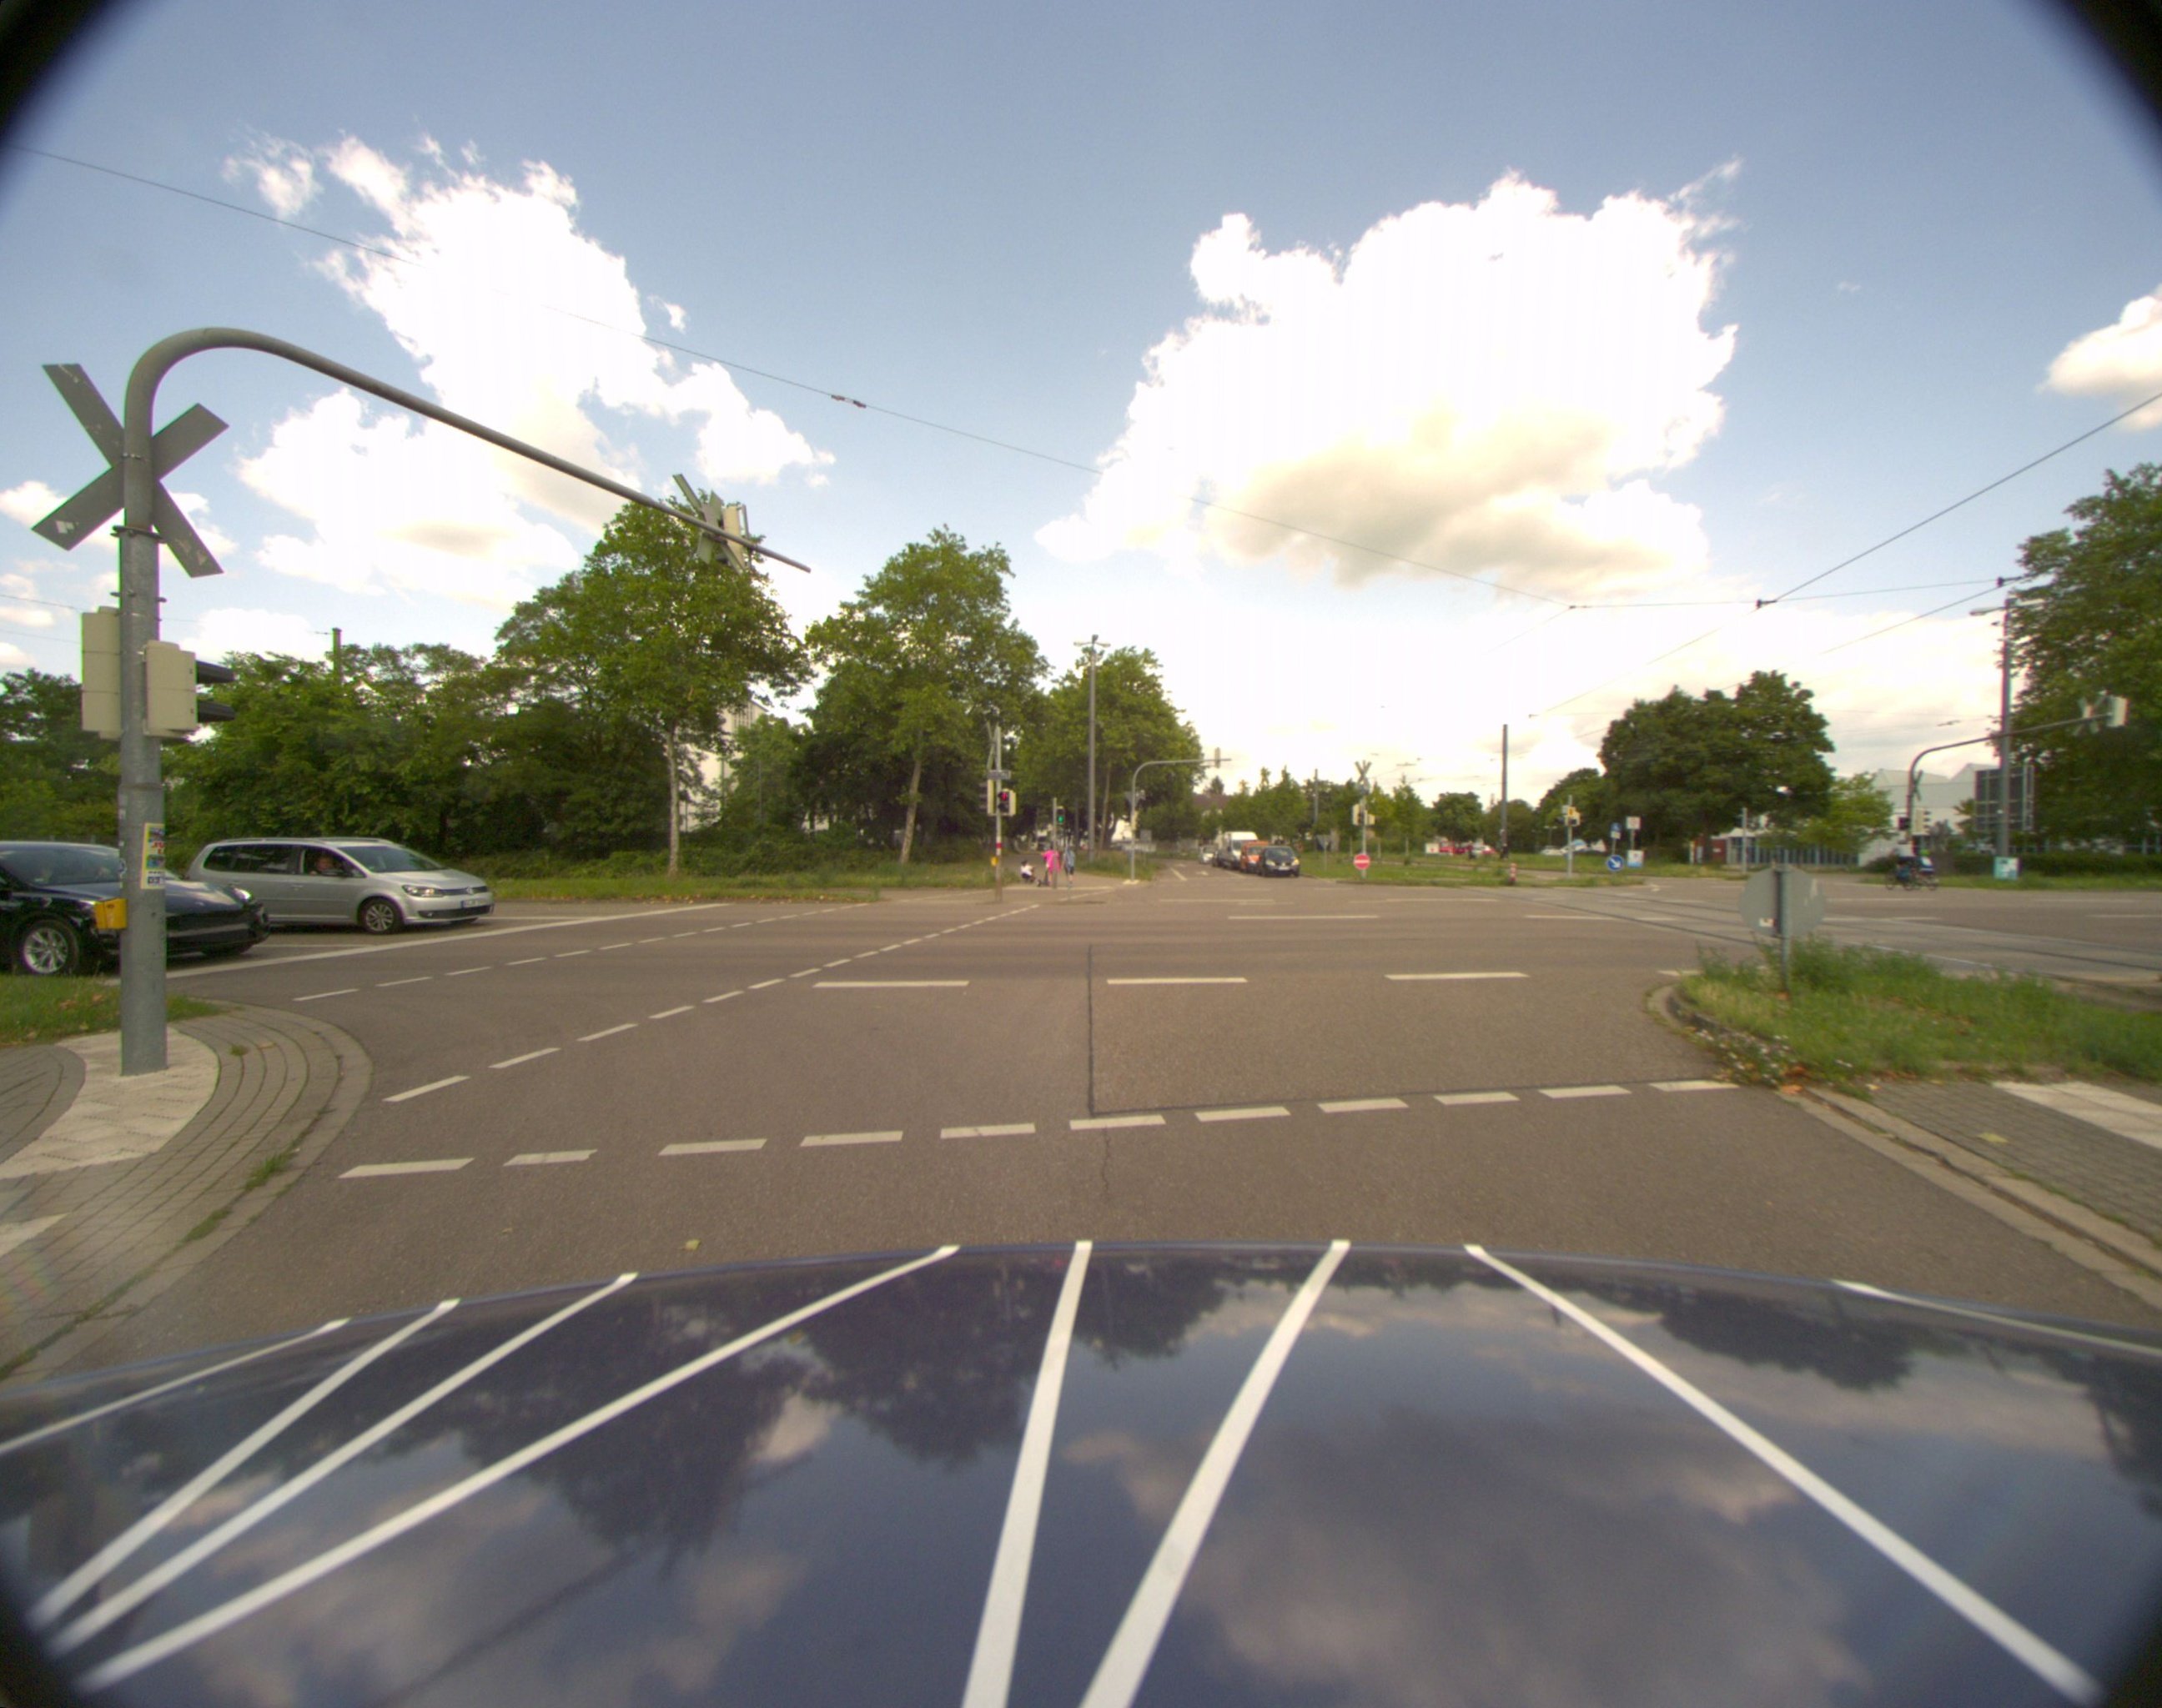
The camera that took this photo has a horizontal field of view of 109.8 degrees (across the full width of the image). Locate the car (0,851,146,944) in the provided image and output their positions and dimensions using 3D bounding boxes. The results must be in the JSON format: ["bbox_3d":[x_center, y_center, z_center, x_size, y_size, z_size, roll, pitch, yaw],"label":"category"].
[{"bbox_3d":[-19.935,0.707,13.300,4.745,1.461,2.000,0,2,2],"label":"car"}]

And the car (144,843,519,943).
[{"bbox_3d":[-13.002,0.618,13.415,4.682,1.601,2.000,0,2,2],"label":"car"}]

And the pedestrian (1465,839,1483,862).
[{"bbox_3d":[31.997,-0.320,61.869,0.907,1.857,1.002,0,1,1],"label":"pedestrian"}]

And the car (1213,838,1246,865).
[{"bbox_3d":[11.176,-0.230,57.395,1.794,1.924,4.369,-1,1,3],"label":"car"}]

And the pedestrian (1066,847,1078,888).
[{"bbox_3d":[-0.334,0.495,28.079,0.419,1.499,0.451,0,2,2],"label":"pedestrian"}]

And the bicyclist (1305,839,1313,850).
[{"bbox_3d":[31.466,-1.300,105.010,0.804,1.461,0.832,0,0,-7],"label":"bicyclist"}]

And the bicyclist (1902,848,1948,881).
[{"bbox_3d":[29.744,0.360,26.788,0.640,1.106,0.929,1,2,15],"label":"bicyclist"}]

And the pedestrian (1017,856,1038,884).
[{"bbox_3d":[-2.072,0.619,29.605,0.722,1.028,0.902,0,1,3],"label":"pedestrian"}]

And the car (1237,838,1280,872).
[{"bbox_3d":[10.473,0.021,45.137,1.794,1.924,4.369,-1,1,4],"label":"car"}]

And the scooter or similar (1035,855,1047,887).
[{"bbox_3d":[-1.493,0.614,28.546,0.395,1.154,1.116,0,1,-1],"label":"scooter or similar"}]

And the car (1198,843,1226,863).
[{"bbox_3d":[11.406,-0.128,66.448,1.866,1.635,4.234,-1,1,3],"label":"car"}]

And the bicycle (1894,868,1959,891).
[{"bbox_3d":[29.726,0.885,26.743,0.646,0.713,1.806,1,1,15],"label":"bicycle"}]

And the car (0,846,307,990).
[{"bbox_3d":[-13.214,0.715,9.712,4.682,1.601,2.000,0,2,3],"label":"car"}]

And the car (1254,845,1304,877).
[{"bbox_3d":[10.102,0.300,39.052,1.794,1.530,4.001,-1,1,5],"label":"car"}]

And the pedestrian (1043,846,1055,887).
[{"bbox_3d":[-1.174,0.471,28.332,0.419,1.499,0.393,0,2,2],"label":"pedestrian"}]

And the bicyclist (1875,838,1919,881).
[{"bbox_3d":[28.240,0.181,26.321,0.624,1.449,0.929,1,2,16],"label":"bicyclist"}]

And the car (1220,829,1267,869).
[{"bbox_3d":[10.976,-0.368,51.656,2.238,2.493,5.726,-1,1,3],"label":"car"}]

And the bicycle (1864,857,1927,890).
[{"bbox_3d":[28.265,0.666,26.416,0.646,1.073,1.807,1,1,17],"label":"bicycle"}]
